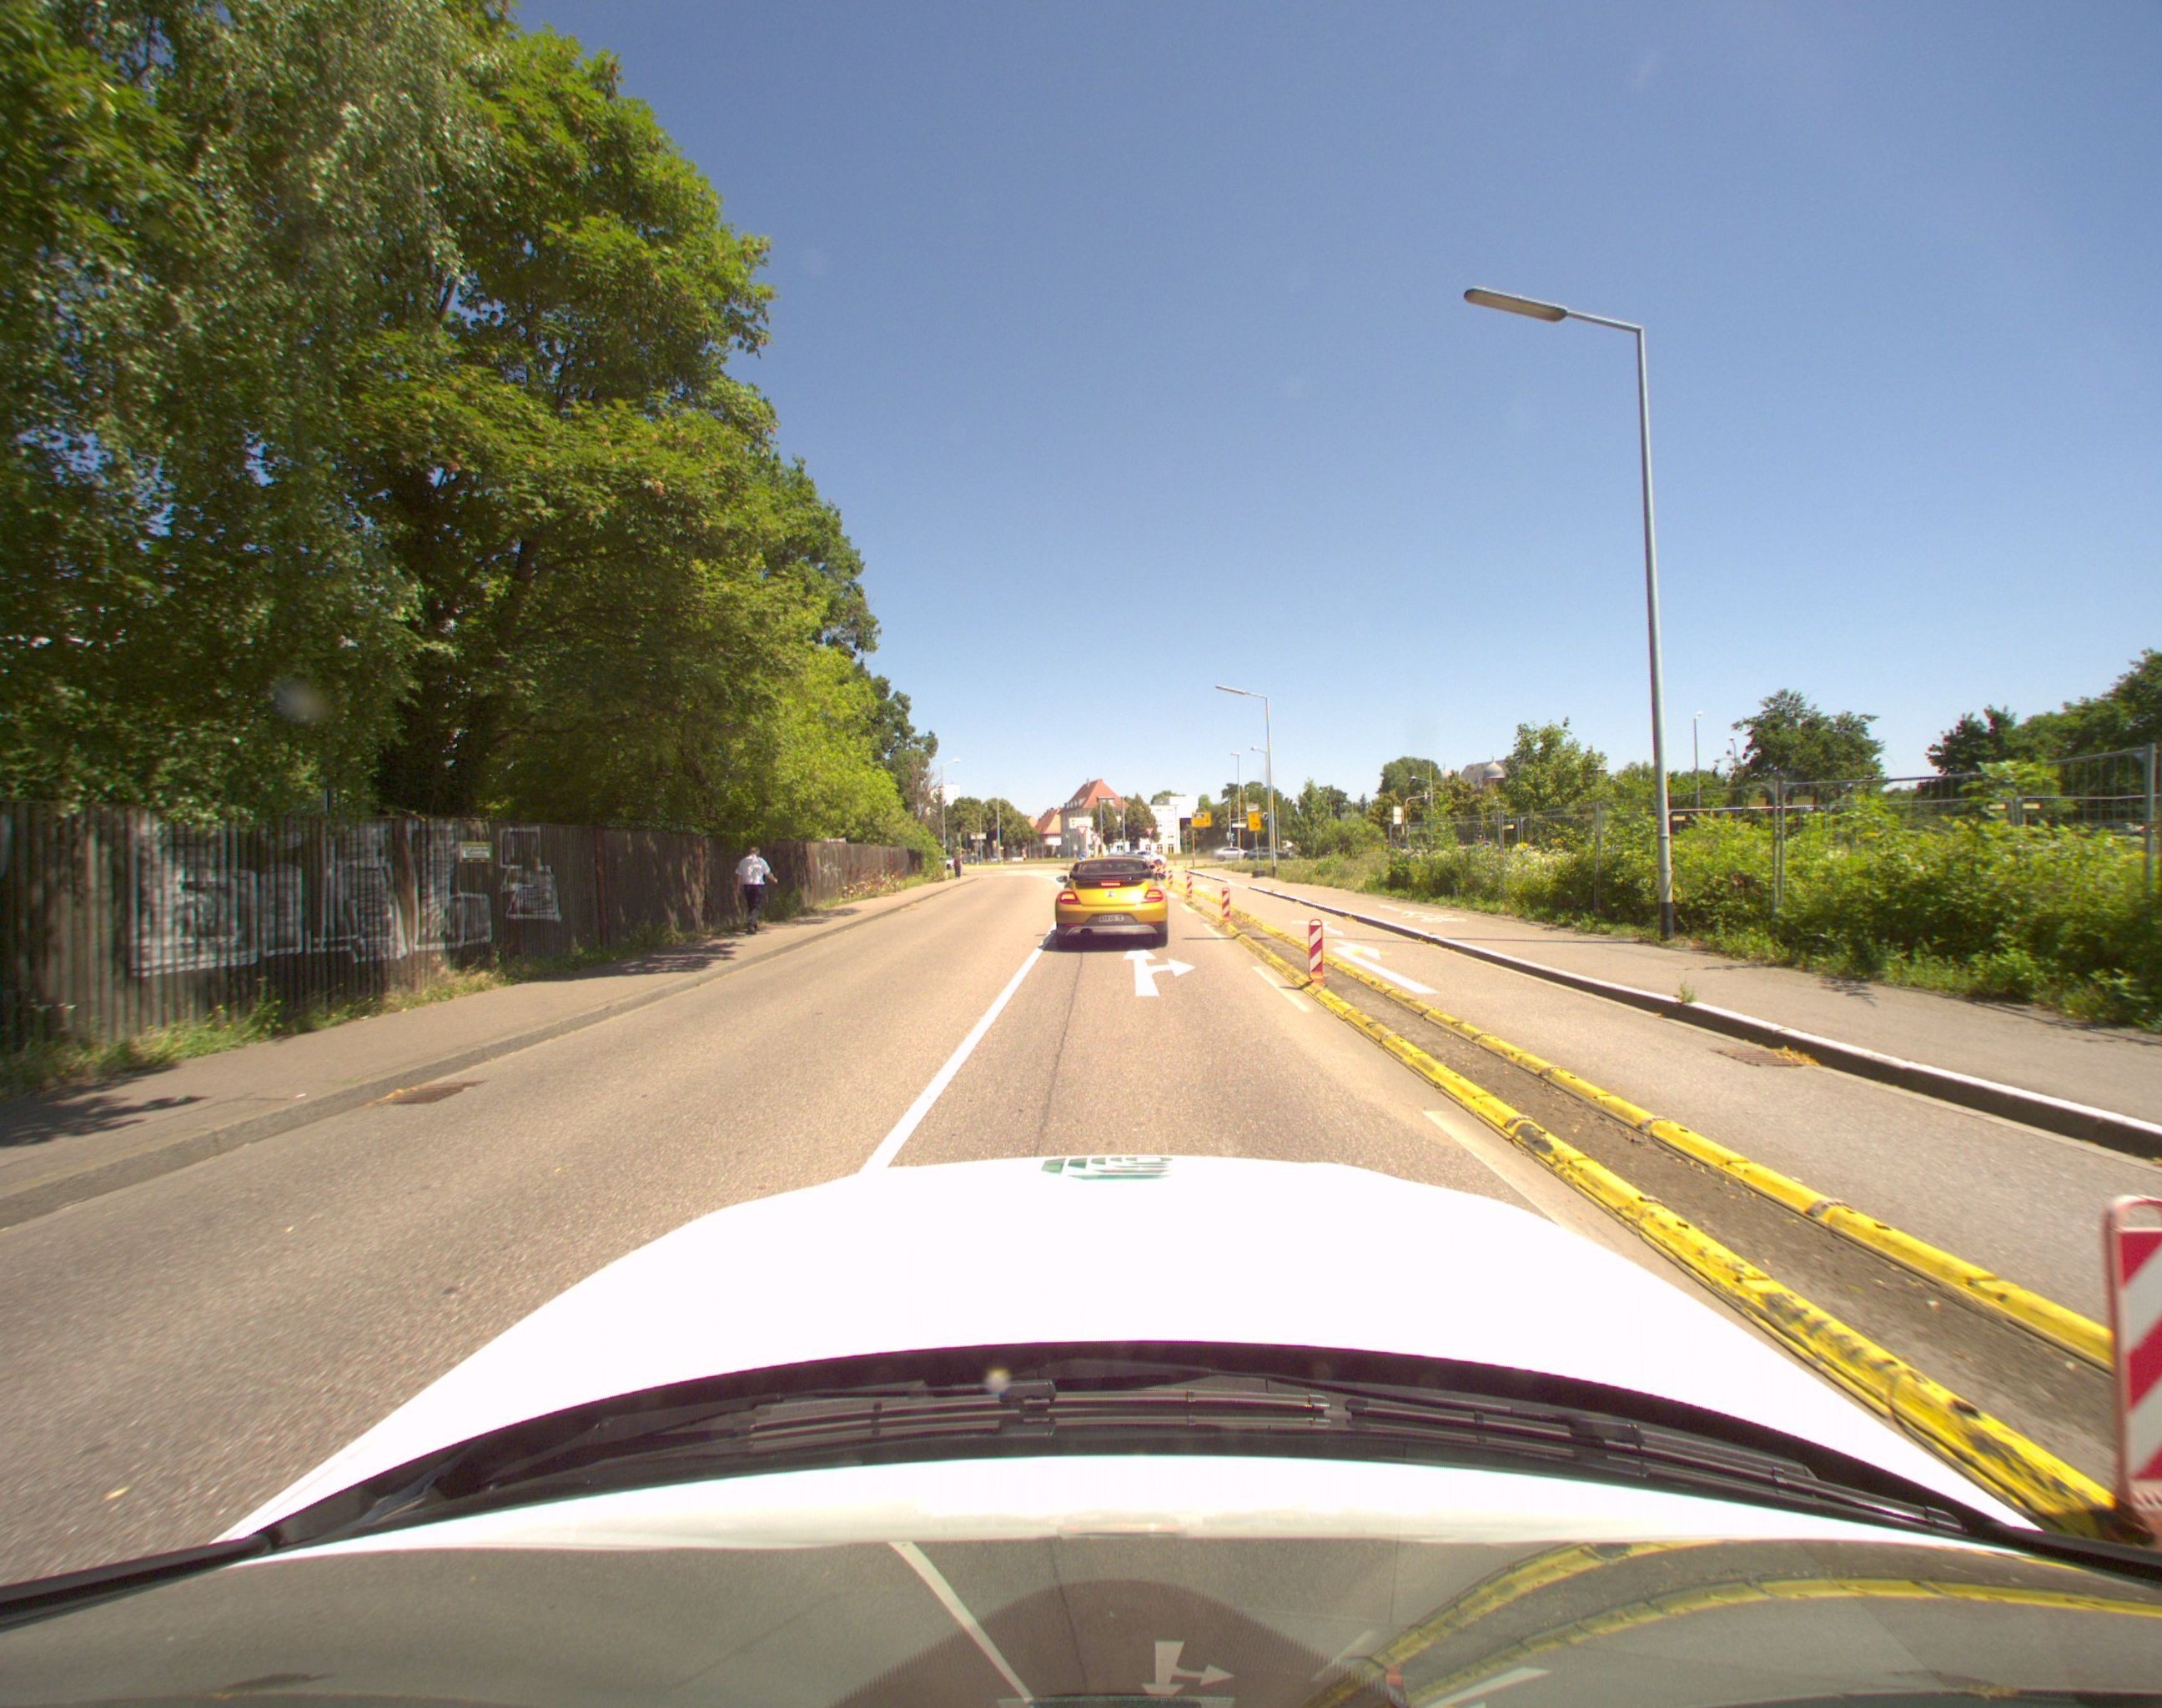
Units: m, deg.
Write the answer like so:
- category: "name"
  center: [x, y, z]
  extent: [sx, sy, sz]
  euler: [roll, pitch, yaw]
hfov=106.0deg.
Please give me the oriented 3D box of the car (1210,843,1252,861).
- category: "car"
  center: [15.327, -0.215, 83.154]
  extent: [4.047, 1.744, 1.571]
  euler: [-2, 0, 10]

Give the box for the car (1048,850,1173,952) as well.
- category: "car"
  center: [0.468, 0.682, 13.951]
  extent: [1.784, 1.436, 3.814]
  euler: [-2, 0, 1]

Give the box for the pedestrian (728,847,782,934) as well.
- category: "pedestrian"
  center: [-6.664, 0.727, 16.678]
  extent: [0.720, 1.725, 0.817]
  euler: [-2, 0, -2]

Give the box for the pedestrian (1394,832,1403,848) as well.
- category: "pedestrian"
  center: [26.562, -1.163, 68.109]
  extent: [0.597, 1.311, 0.549]
  euler: [-2, 0, 23]

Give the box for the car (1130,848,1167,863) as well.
- category: "car"
  center: [6.353, 0.164, 76.893]
  extent: [3.420, 1.275, 1.204]
  euler: [-2, 0, 5]

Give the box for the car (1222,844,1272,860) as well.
- category: "car"
  center: [15.337, -0.189, 75.207]
  extent: [4.409, 1.358, 1.543]
  euler: [-2, 0, 12]

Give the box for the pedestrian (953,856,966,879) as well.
- category: "pedestrian"
  center: [-8.071, 0.906, 54.012]
  extent: [0.720, 1.454, 0.817]
  euler: [-2, 0, -2]

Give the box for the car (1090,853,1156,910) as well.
- category: "car"
  center: [1.175, 0.743, 23.974]
  extent: [1.720, 1.443, 4.001]
  euler: [-2, 0, 1]

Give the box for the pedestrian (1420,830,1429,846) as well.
- category: "pedestrian"
  center: [28.159, -1.287, 66.826]
  extent: [0.539, 1.311, 0.608]
  euler: [-2, 0, 34]

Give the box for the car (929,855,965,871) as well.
- category: "car"
  center: [-14.866, 0.987, 90.210]
  extent: [3.660, 1.571, 1.693]
  euler: [-2, 0, 32]
